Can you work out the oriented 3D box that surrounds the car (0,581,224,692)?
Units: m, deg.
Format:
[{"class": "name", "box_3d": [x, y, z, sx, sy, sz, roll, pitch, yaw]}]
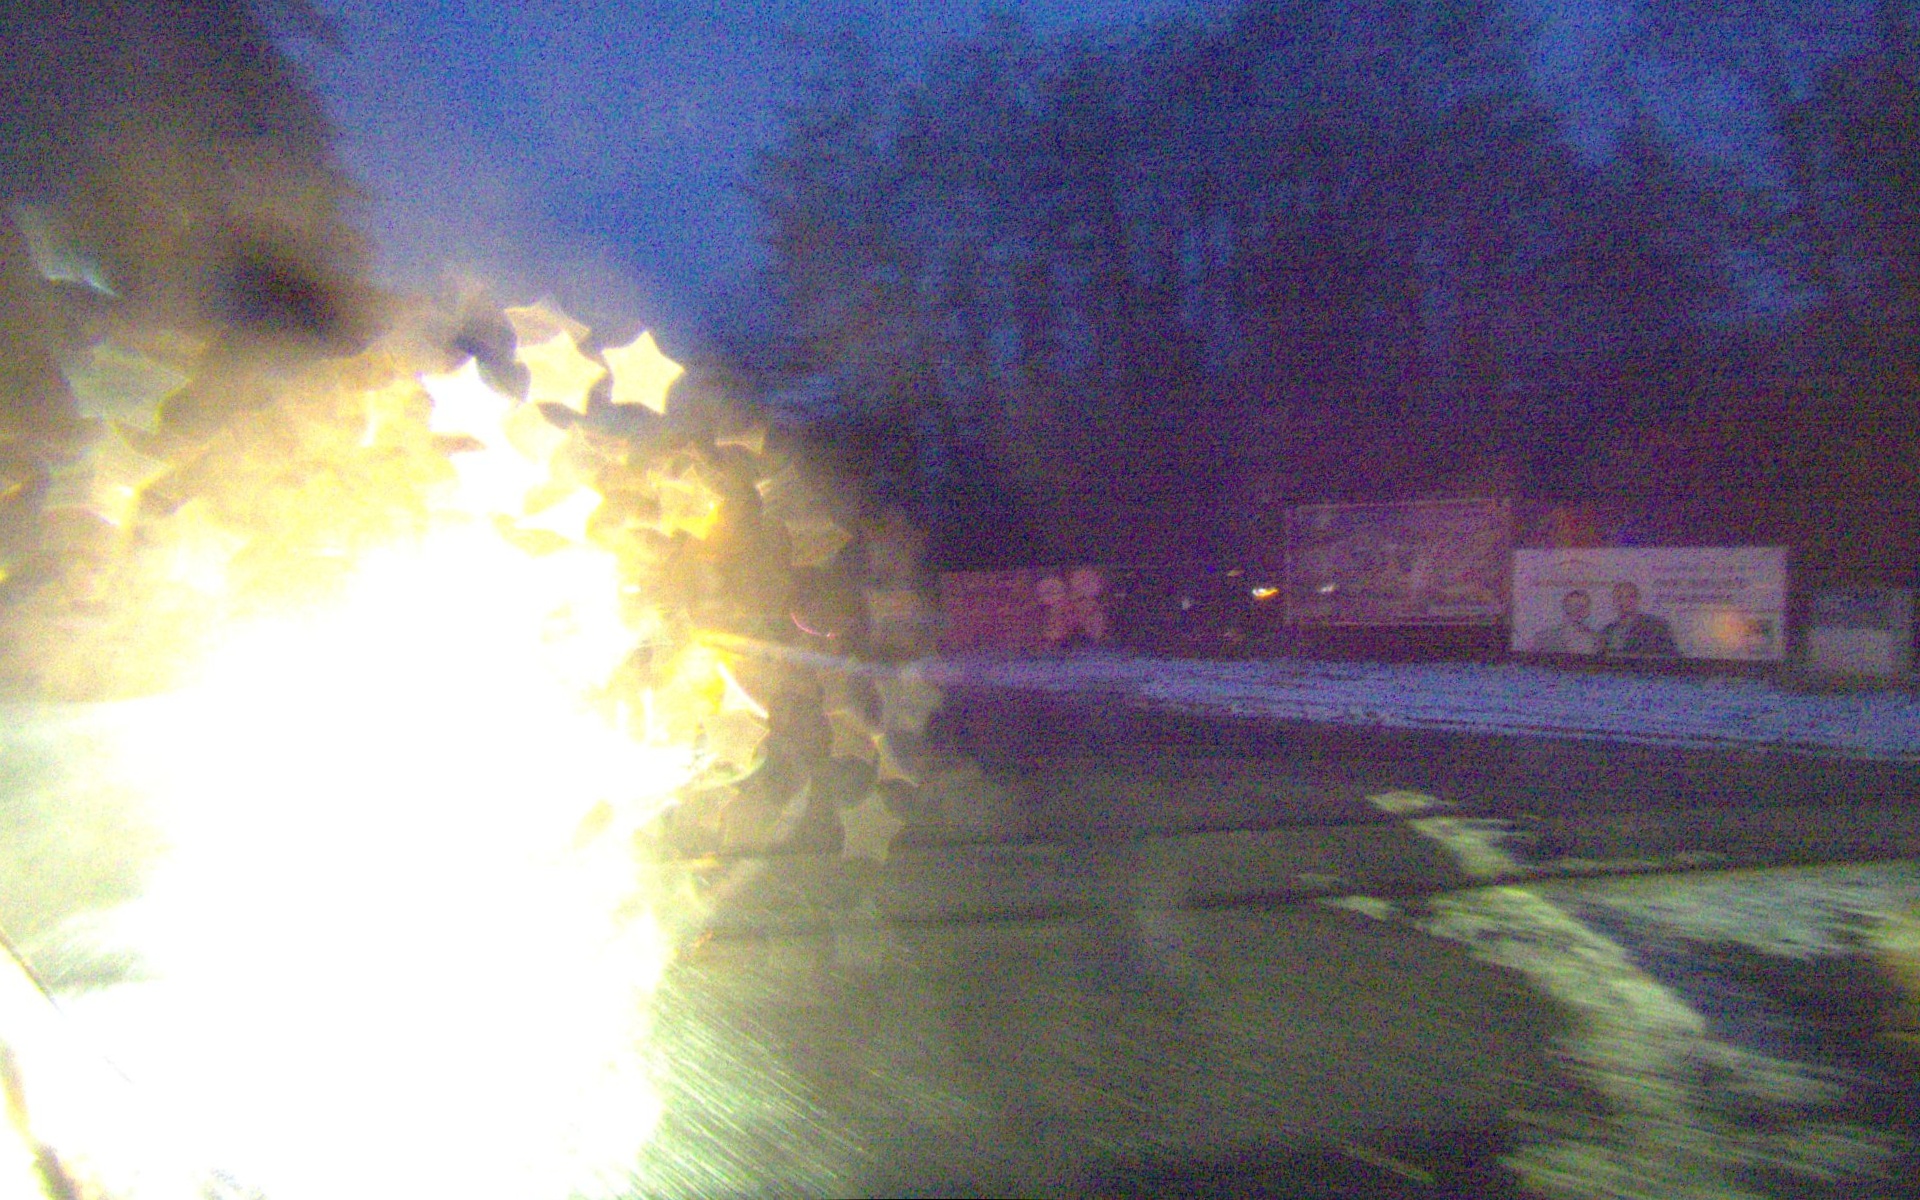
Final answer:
[{"class": "car", "box_3d": [-14.529, 0.546, 15.860, 4.410, 1.598, 1.943, 2, -2, -9]}]

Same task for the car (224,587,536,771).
[{"class": "car", "box_3d": [-6.420, 0.748, 11.830, 1.864, 1.701, 4.349, -1, 0, -11]}]
